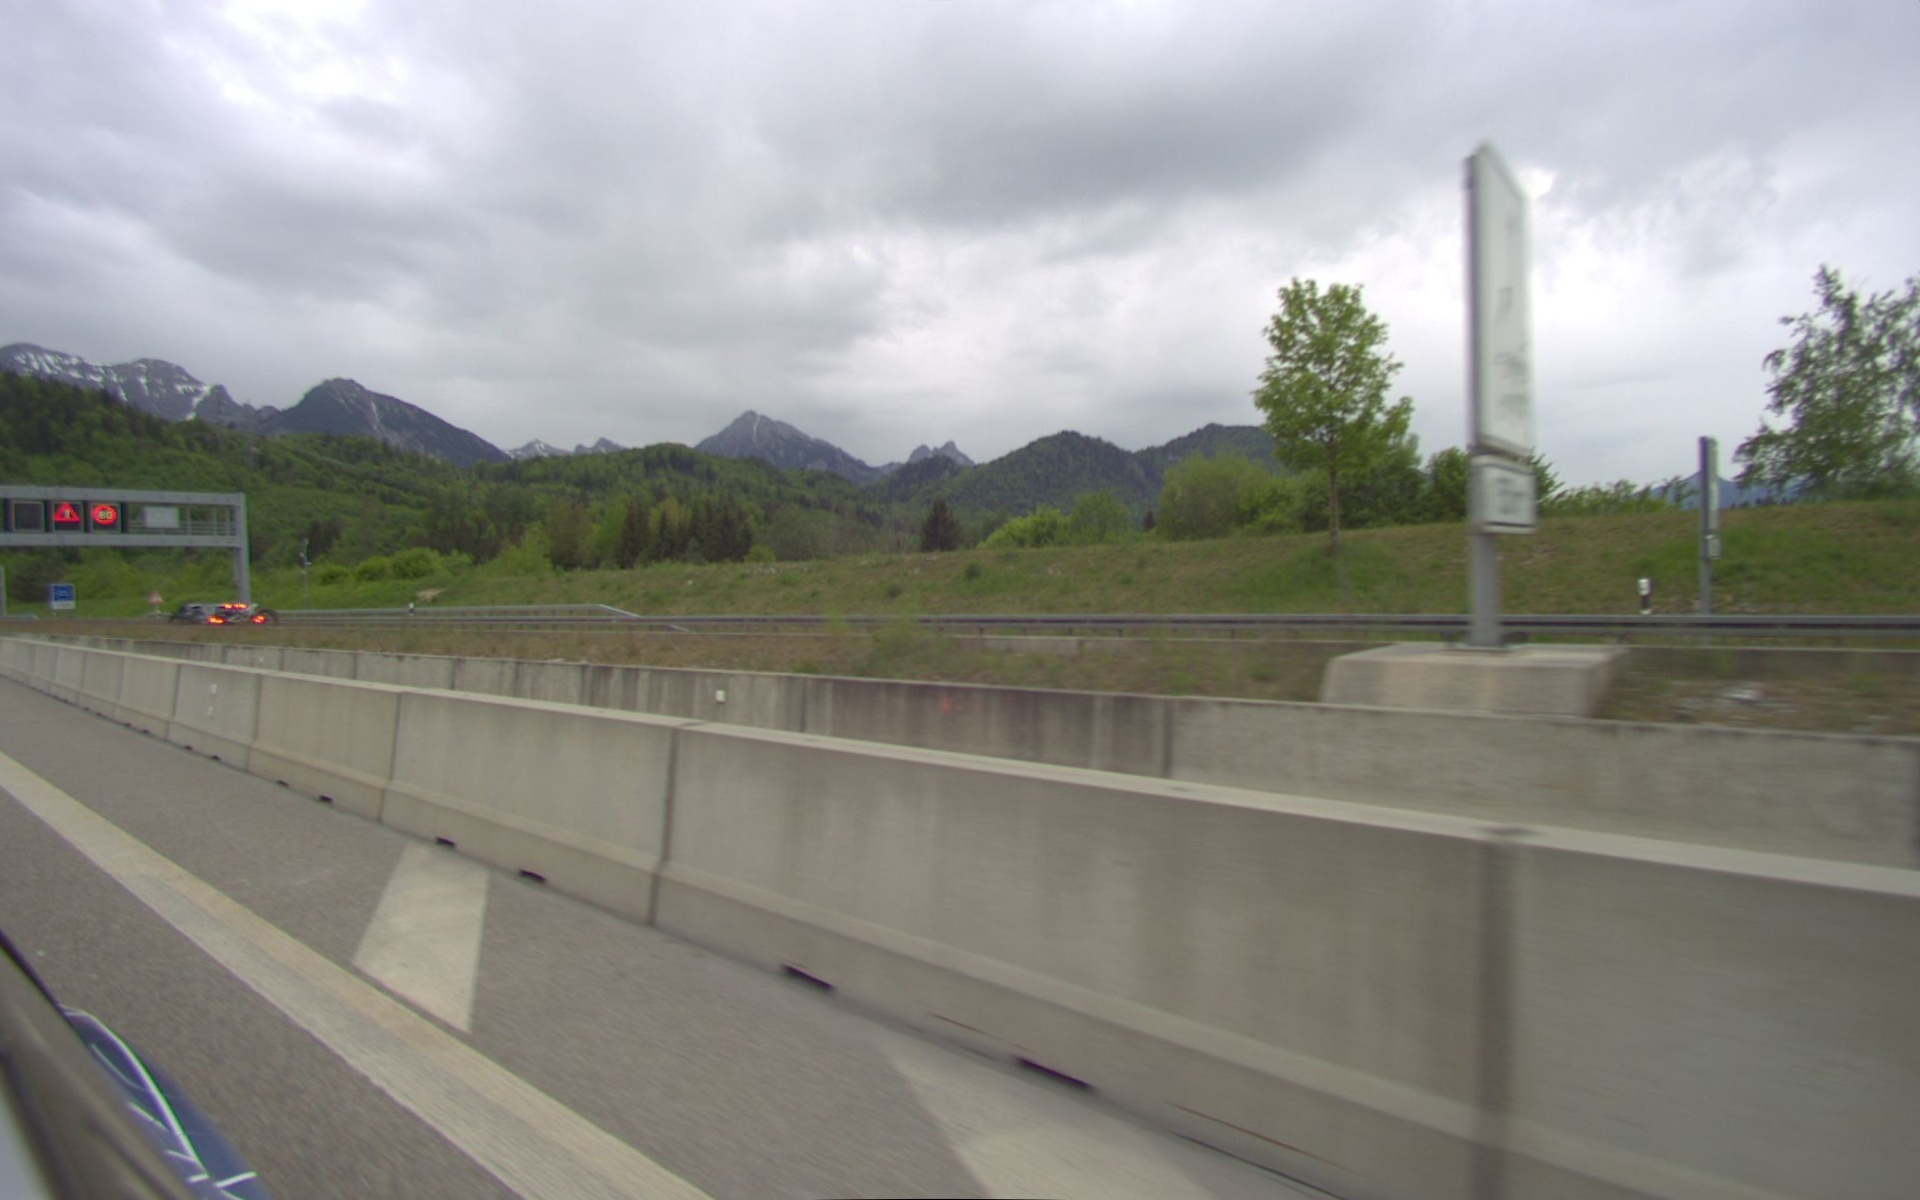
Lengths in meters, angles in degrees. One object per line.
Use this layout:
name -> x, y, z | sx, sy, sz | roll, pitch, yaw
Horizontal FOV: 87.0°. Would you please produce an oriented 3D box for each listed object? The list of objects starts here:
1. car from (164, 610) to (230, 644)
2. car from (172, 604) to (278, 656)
car -> -39.274, 1.379, 52.048 | 4.402, 1.620, 1.750 | -1, 0, 40
car -> -27.152, 1.083, 37.293 | 5.747, 1.749, 1.859 | -1, 0, 40
